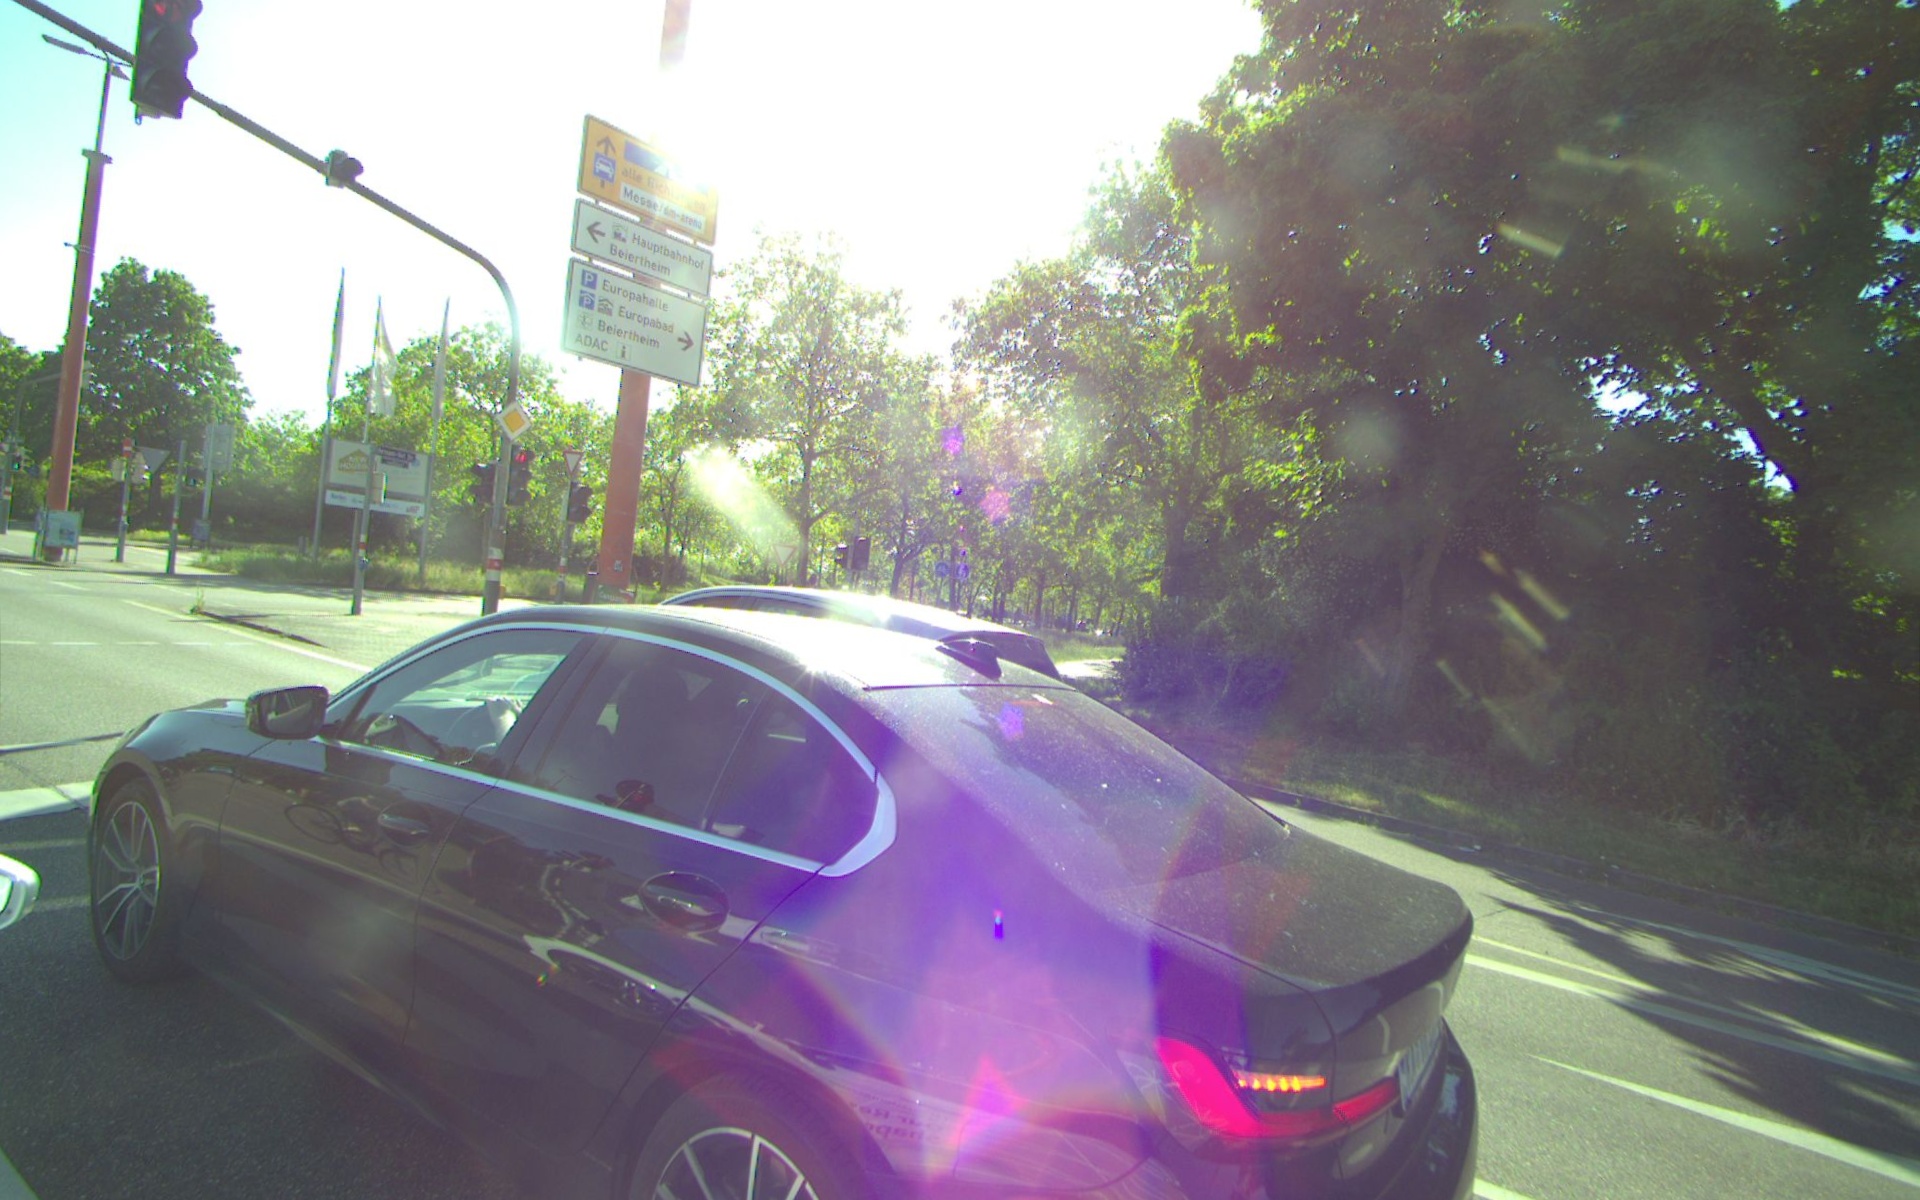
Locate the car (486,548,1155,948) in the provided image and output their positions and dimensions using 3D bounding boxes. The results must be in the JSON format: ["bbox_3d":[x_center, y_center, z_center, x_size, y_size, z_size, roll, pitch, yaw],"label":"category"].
[{"bbox_3d":[-1.014,0.704,6.488,3.963,1.597,1.741,7,0,33],"label":"car"}]

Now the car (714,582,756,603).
[{"bbox_3d":[-20.494,-0.702,91.916,1.751,1.503,4.332,7,-1,16],"label":"car"}]

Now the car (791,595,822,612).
[{"bbox_3d":[-16.271,0.407,106.878,1.652,1.485,3.997,7,-1,14],"label":"car"}]

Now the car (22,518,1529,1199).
[{"bbox_3d":[-0.874,0.702,3.099,4.371,1.415,1.871,7,0,33],"label":"car"}]
